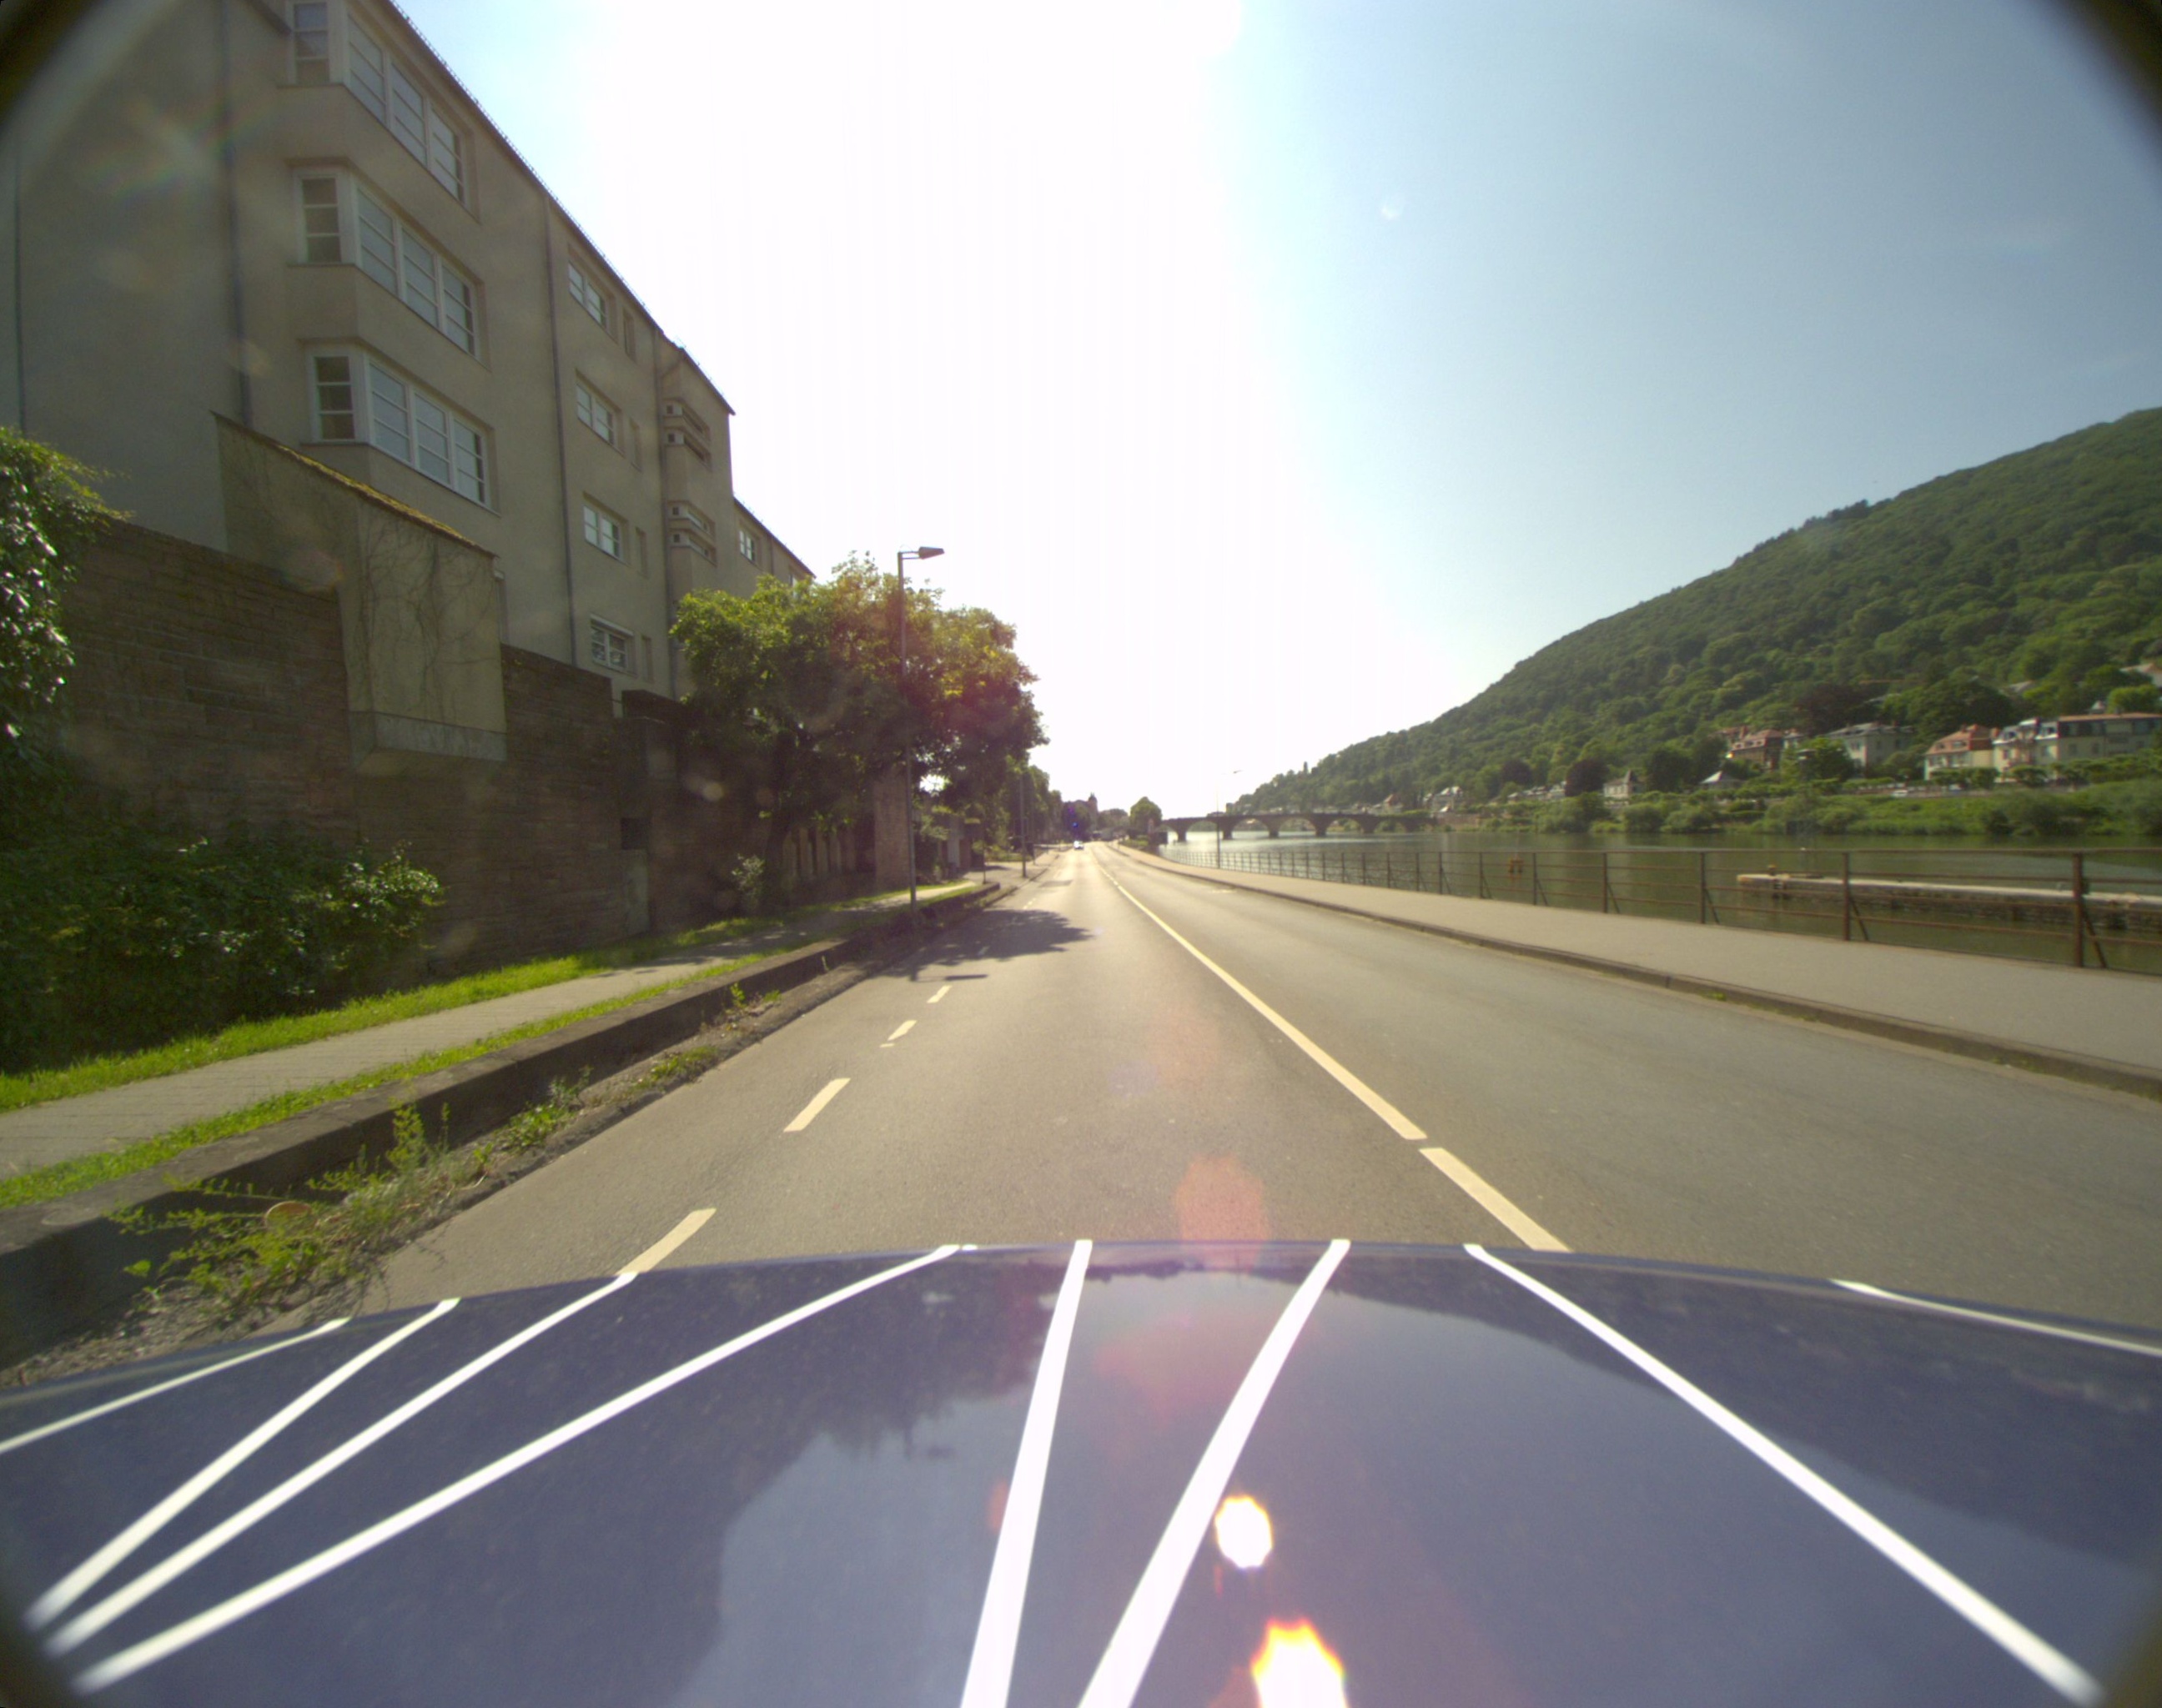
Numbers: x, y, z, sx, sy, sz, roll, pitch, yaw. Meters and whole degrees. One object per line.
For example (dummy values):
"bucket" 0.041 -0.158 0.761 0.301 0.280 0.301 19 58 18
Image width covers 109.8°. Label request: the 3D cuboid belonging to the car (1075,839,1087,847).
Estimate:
"car" 0.008 -1.961 135.927 1.998 1.434 4.000 -1 1 2
